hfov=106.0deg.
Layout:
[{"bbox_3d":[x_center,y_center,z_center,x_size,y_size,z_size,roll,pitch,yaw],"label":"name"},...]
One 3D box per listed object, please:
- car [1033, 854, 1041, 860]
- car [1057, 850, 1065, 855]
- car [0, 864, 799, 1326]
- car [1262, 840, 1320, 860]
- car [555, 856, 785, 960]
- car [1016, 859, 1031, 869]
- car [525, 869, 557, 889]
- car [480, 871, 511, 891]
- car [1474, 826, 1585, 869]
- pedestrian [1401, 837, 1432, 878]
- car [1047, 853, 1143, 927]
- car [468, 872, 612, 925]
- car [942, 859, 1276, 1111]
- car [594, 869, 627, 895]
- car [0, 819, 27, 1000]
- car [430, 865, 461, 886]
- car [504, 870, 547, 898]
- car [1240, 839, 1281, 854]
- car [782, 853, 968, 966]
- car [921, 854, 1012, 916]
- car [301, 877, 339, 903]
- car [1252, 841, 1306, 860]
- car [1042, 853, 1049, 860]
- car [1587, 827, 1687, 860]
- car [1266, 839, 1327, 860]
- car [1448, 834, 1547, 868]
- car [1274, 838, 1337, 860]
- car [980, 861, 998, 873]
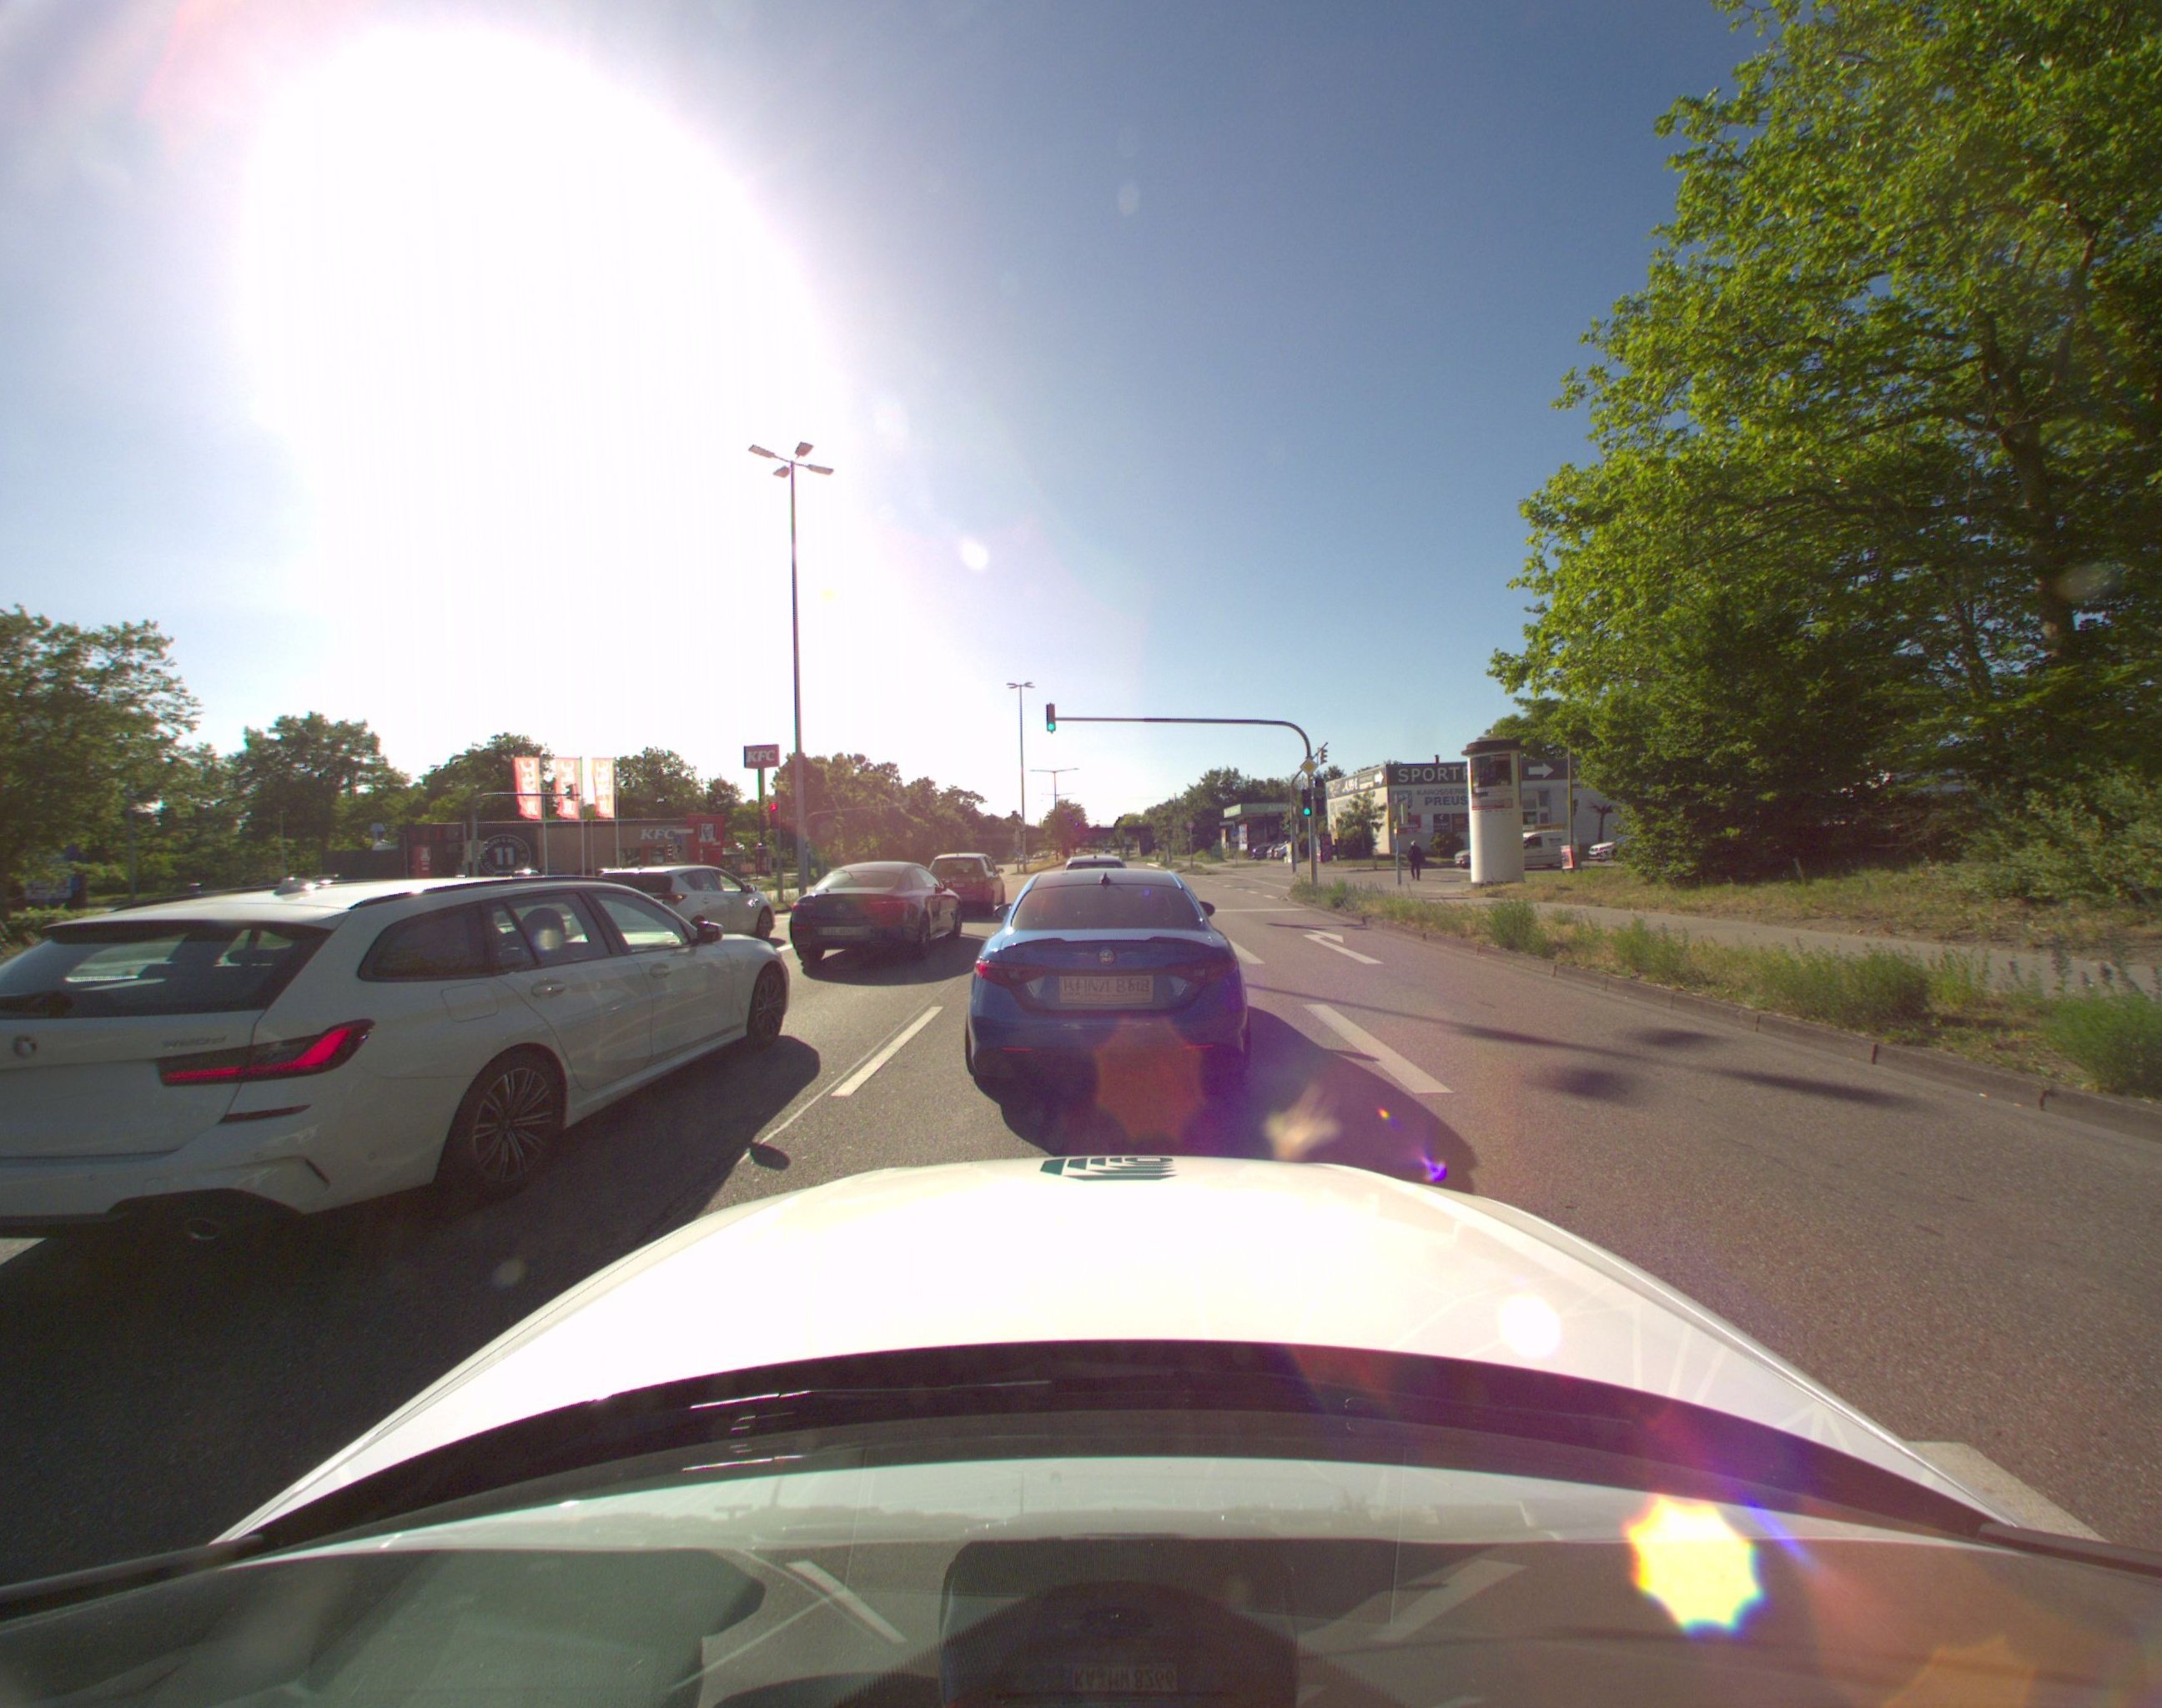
[{"bbox_3d":[-10.399,0.736,194.409,1.609,1.559,3.359,0,-1,2],"label":"car"},{"bbox_3d":[-5.645,-0.448,229.672,1.752,1.490,4.480,-3,0,2],"label":"car"},{"bbox_3d":[-3.378,0.819,4.881,1.779,1.490,4.403,0,-1,1],"label":"car"},{"bbox_3d":[17.990,-0.356,69.843,4.470,1.454,1.860,-4,0,3],"label":"car"},{"bbox_3d":[-6.730,0.800,13.935,1.753,1.490,4.197,0,-1,1],"label":"car"},{"bbox_3d":[-9.009,1.585,127.986,1.752,1.490,3.839,-3,0,2],"label":"car"},{"bbox_3d":[-43.142,1.988,65.052,1.670,1.471,3.872,0,-1,-40],"label":"car"},{"bbox_3d":[-45.634,2.056,63.399,1.670,1.471,3.872,0,-1,-40],"label":"car"},{"bbox_3d":[21.639,-0.328,39.370,4.367,1.801,1.765,-3,1,0],"label":"car"},{"bbox_3d":[14.228,0.151,34.522,0.922,1.735,0.939,0,-1,1],"label":"pedestrian"},{"bbox_3d":[0.299,0.709,17.932,1.844,1.418,4.403,0,-1,1],"label":"car"},{"bbox_3d":[-18.538,1.465,28.209,1.752,1.490,4.480,-5,0,2],"label":"car"},{"bbox_3d":[0.192,0.764,6.838,1.889,1.418,4.403,0,-1,1],"label":"car"},{"bbox_3d":[-33.663,1.961,58.333,1.920,1.752,4.315,0,-1,-29],"label":"car"},{"bbox_3d":[-15.752,0.827,8.343,2.014,2.447,5.826,-5,0,3],"label":"car"},{"bbox_3d":[-47.634,1.595,60.983,1.670,1.471,3.872,0,-1,-40],"label":"car"},{"bbox_3d":[-37.332,1.966,54.854,2.005,1.765,4.315,0,-1,-29],"label":"car"},{"bbox_3d":[21.393,-0.847,97.006,4.532,1.490,1.766,-4,0,3],"label":"car"},{"bbox_3d":[-3.077,0.763,13.157,1.790,1.490,4.476,0,-1,1],"label":"car"},{"bbox_3d":[-2.955,0.759,21.889,1.753,1.490,4.403,0,-1,1],"label":"car"},{"bbox_3d":[-52.368,2.436,56.089,1.670,1.673,3.897,0,-1,-40],"label":"car"},{"bbox_3d":[17.949,-0.327,73.897,4.470,1.454,1.860,-4,0,3],"label":"car"},{"bbox_3d":[-9.346,0.644,213.086,1.603,1.647,3.464,0,-1,2],"label":"car"},{"bbox_3d":[29.144,-0.529,42.758,4.028,1.490,1.782,-3,0,-1],"label":"car"},{"bbox_3d":[17.712,-0.386,67.094,4.470,1.454,1.860,-4,0,3],"label":"car"},{"bbox_3d":[21.770,-0.181,42.705,4.273,1.549,1.765,-3,1,0],"label":"car"},{"bbox_3d":[17.706,-0.400,64.314,4.470,1.454,1.860,-4,0,3],"label":"car"},{"bbox_3d":[-12.734,1.718,112.528,1.752,1.490,4.480,-3,0,2],"label":"car"}]
